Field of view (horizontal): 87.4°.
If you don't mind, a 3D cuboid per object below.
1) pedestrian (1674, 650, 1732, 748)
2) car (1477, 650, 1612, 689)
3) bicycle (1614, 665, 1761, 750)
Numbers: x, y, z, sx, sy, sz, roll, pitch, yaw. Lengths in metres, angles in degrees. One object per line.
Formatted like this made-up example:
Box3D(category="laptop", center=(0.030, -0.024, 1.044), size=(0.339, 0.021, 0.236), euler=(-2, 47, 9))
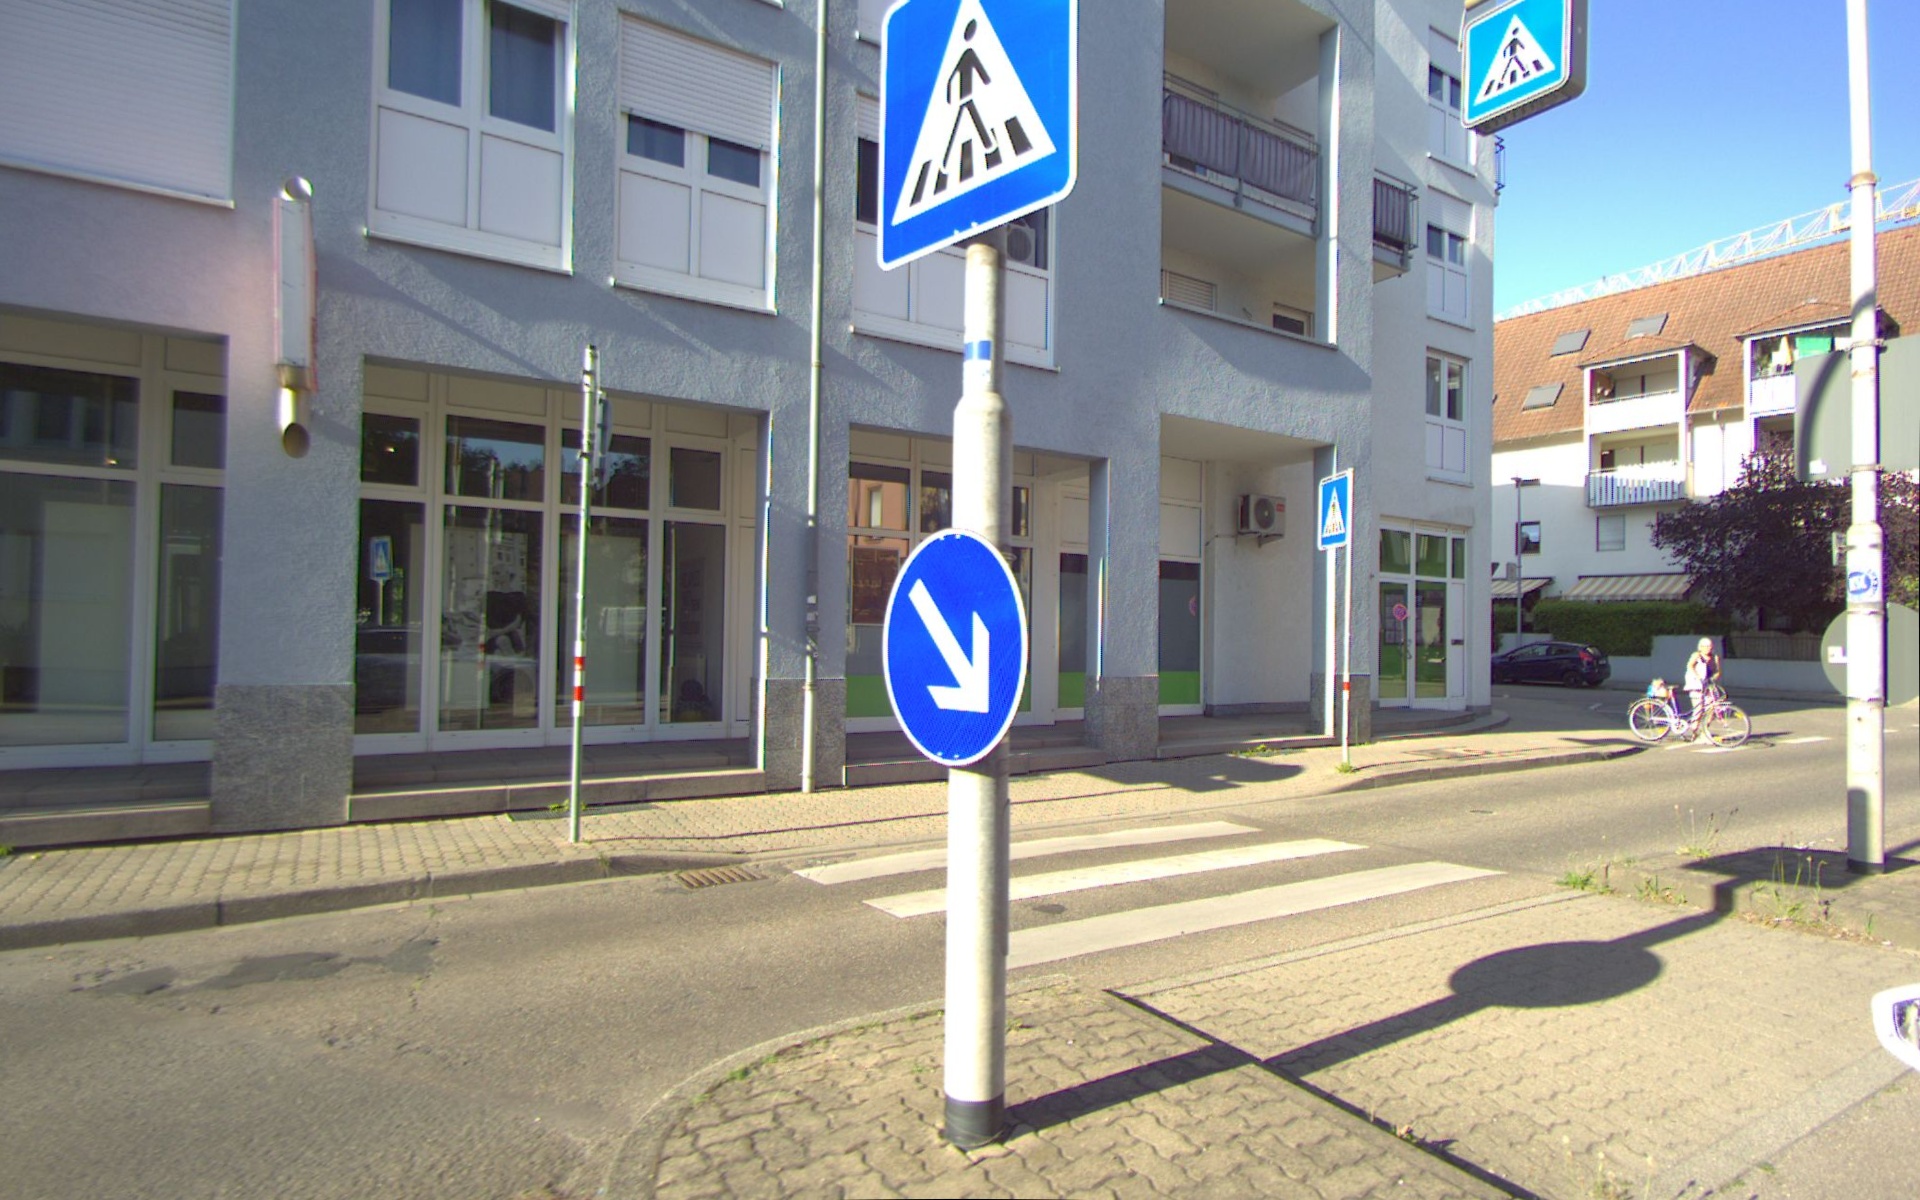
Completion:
Box3D(category="pedestrian", center=(11.701, 1.543, 15.817), size=(0.595, 1.491, 0.553), euler=(1, -2, -35))
Box3D(category="car", center=(19.254, 2.272, 33.208), size=(1.600, 1.196, 3.518), euler=(1, -3, -35))
Box3D(category="bicycle", center=(11.358, 1.646, 15.744), size=(0.592, 1.199, 1.778), euler=(1, -3, -30))
